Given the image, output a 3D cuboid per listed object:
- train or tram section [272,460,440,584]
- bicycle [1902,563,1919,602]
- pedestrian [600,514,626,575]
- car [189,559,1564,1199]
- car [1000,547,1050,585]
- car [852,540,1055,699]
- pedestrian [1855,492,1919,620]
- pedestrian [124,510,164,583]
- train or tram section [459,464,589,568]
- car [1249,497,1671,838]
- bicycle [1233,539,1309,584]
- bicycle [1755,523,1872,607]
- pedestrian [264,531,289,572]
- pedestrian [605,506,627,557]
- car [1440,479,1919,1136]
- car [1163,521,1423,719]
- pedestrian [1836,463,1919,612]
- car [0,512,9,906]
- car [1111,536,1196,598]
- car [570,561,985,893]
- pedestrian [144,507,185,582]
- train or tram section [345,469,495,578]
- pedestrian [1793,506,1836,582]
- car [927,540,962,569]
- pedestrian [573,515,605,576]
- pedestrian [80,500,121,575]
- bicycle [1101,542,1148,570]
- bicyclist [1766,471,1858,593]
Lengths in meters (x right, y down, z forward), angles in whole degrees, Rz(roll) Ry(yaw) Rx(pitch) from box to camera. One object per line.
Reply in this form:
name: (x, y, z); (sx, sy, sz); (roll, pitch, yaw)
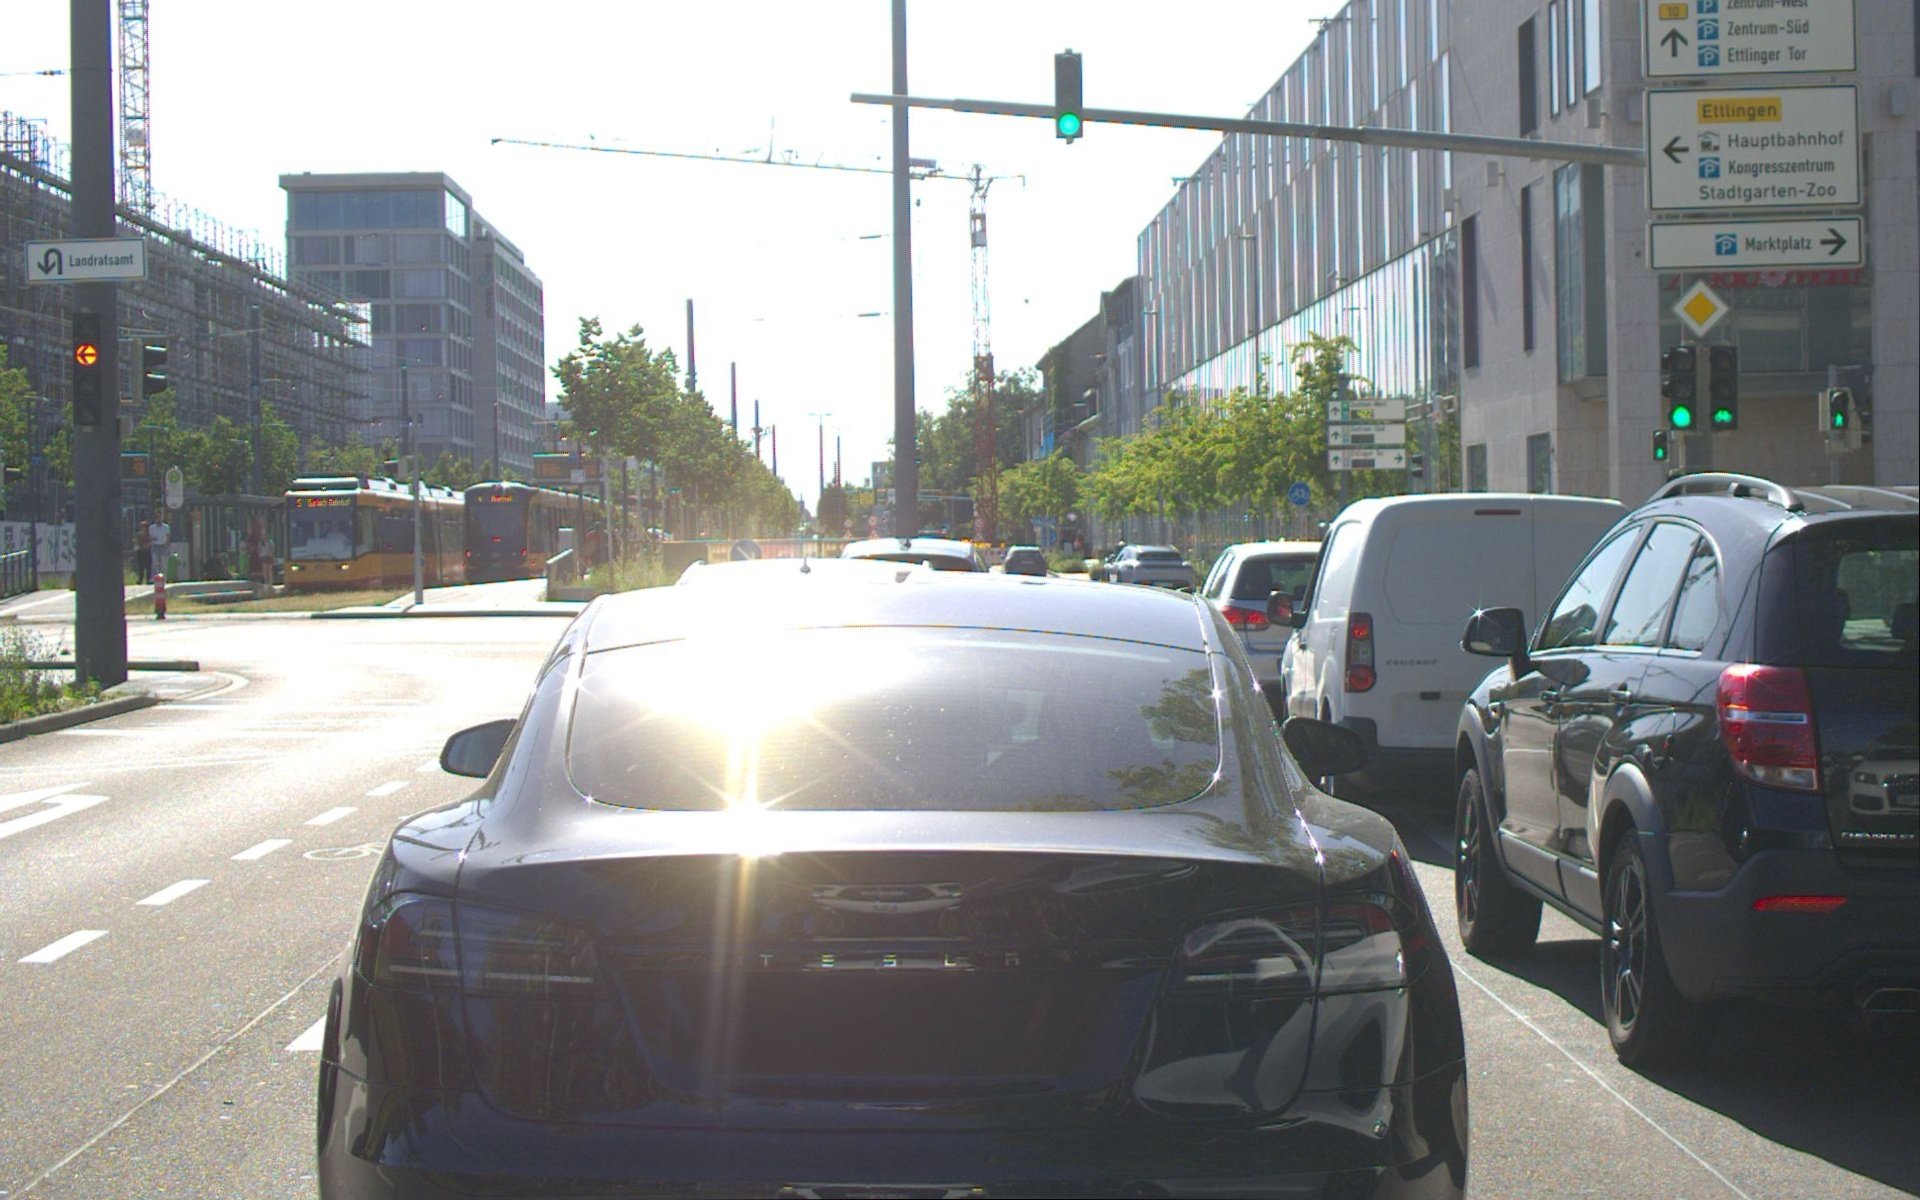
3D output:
train or tram section: (-17.370, -2.239, 99.837); (2.870, 3.298, 13.074); (1, 1, -2)
bicycle: (17.668, -0.324, 59.993); (2.193, 0.669, 1.072); (-1, 1, 3)
pedestrian: (-10.322, -1.655, 102.269); (0.703, 1.769, 0.959); (1, 2, -4)
car: (-0.129, 0.647, 7.215); (1.999, 1.429, 4.413); (0, 1, 0)
car: (2.713, -1.430, 143.982); (1.934, 1.536, 4.000); (0, 1, -1)
car: (-0.076, 0.132, 31.269); (1.716, 1.315, 4.000); (0, 1, -1)
pedestrian: (13.700, -0.650, 49.777); (0.967, 1.795, 1.523); (-3, 1, -1)
pedestrian: (-20.801, -1.366, 87.614); (0.800, 1.817, 0.976); (-1, 1, -4)
train or tram section: (-14.725, -2.815, 117.256); (2.870, 3.268, 15.186); (1, 1, -2)
car: (2.728, 0.292, 19.613); (1.784, 1.728, 4.163); (0, 1, 0)
bicycle: (8.779, -1.092, 96.920); (2.086, 1.201, 0.950); (-2, 1, 5)
bicycle: (10.426, -0.438, 42.057); (0.881, 0.981, 2.051); (-1, 1, -1)
pedestrian: (-20.547, -1.464, 103.351); (0.671, 1.222, 0.506); (1, 0, -4)
pedestrian: (-12.336, -2.454, 123.299); (0.671, 1.804, 1.075); (-1, 1, -2)
car: (2.759, 0.479, 11.076); (1.784, 1.693, 4.413); (0, 1, 0)
car: (2.738, 0.114, 29.071); (1.784, 1.540, 4.039); (0, 1, 0)
pedestrian: (12.639, -0.860, 46.925); (0.946, 2.007, 1.080); (-1, 1, -12)
car: (-4.684, 0.463, 11.816); (1.770, 1.583, 4.089); (1, 1, -1)
car: (4.981, -0.868, 88.996); (1.934, 1.536, 4.000); (0, 1, -1)
car: (-0.779, 0.505, 16.287); (1.716, 1.315, 4.000); (0, 1, -1)
pedestrian: (-19.608, -1.373, 84.714); (0.800, 1.817, 0.976); (-1, 1, -4)
train or tram section: (-17.783, -2.449, 114.318); (2.847, 3.310, 15.967); (1, 1, -2)
pedestrian: (18.149, -1.194, 73.009); (0.747, 1.602, 0.557); (-1, 2, -2)
car: (-0.858, -2.535, 190.478); (1.934, 1.536, 4.000); (0, 1, -1)
pedestrian: (-10.019, -1.470, 92.845); (0.741, 1.623, 0.861); (-1, 1, 0)
pedestrian: (-21.335, -1.553, 85.341); (0.800, 1.817, 0.976); (-1, 1, -4)
bicycle: (7.034, -1.881, 147.171); (1.881, 1.147, 0.672); (-3, 1, -11)
bicyclist: (10.421, -0.836, 42.089); (0.881, 1.472, 0.883); (-1, 1, -1)
